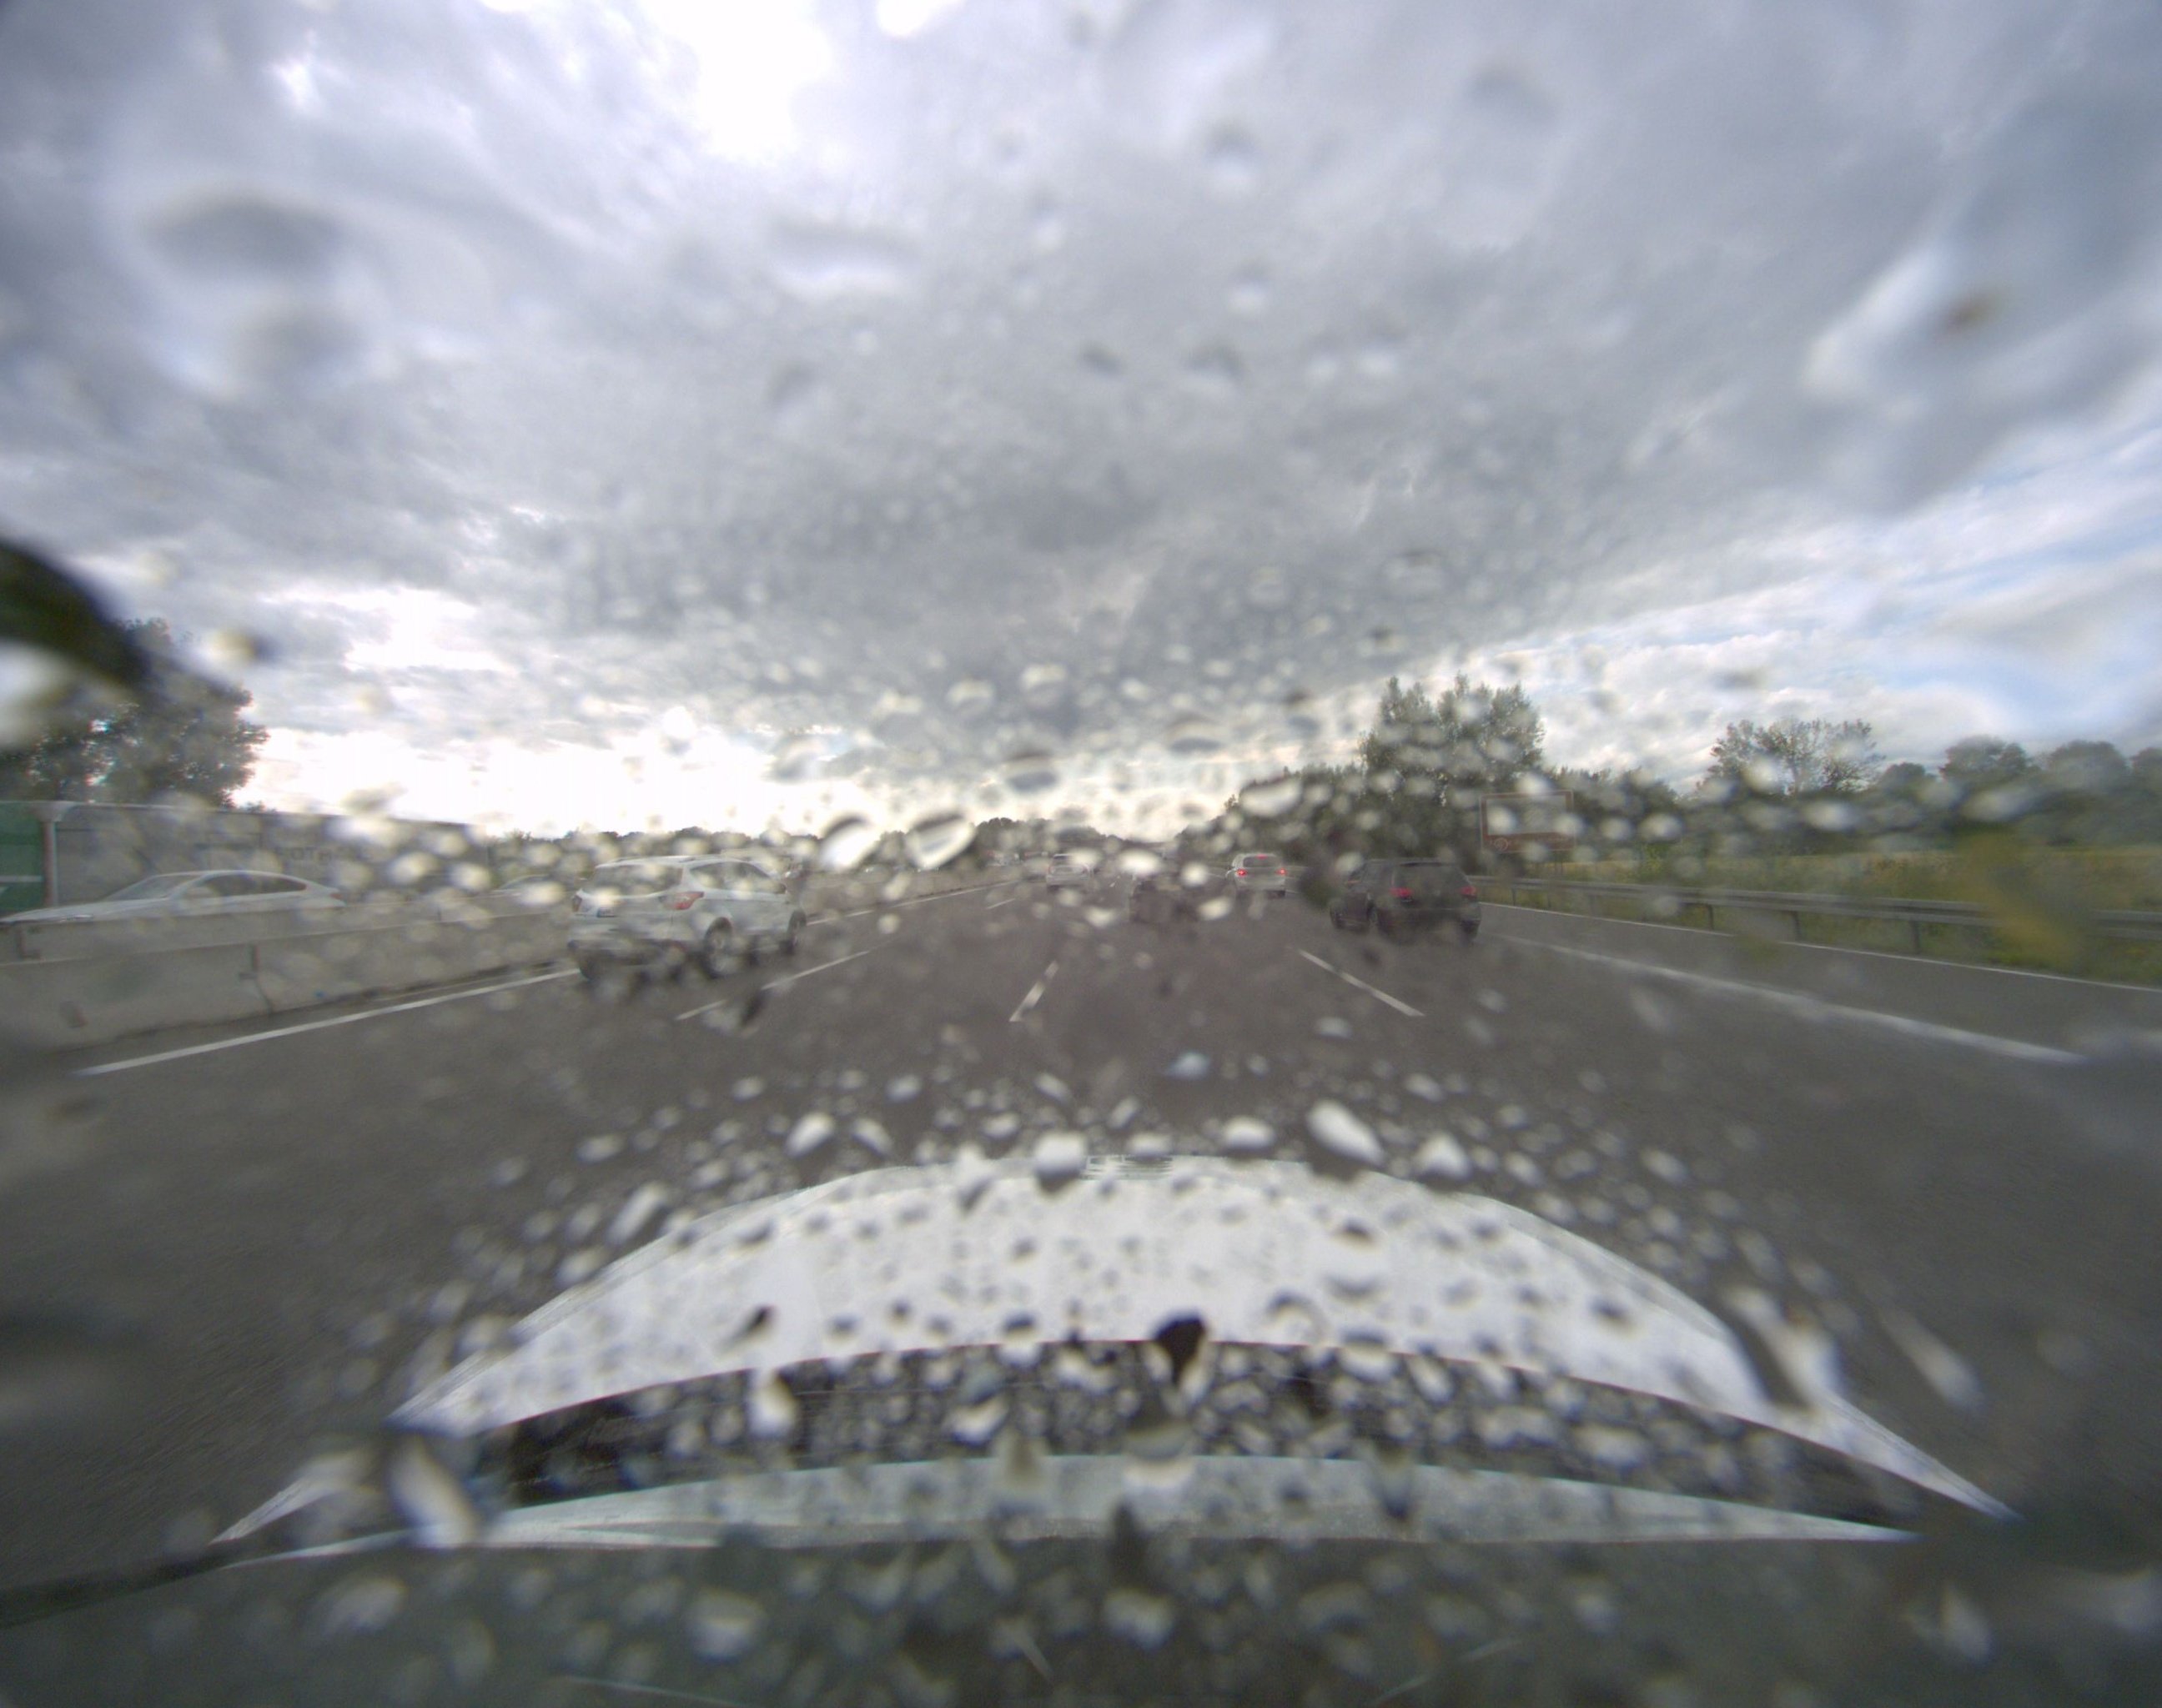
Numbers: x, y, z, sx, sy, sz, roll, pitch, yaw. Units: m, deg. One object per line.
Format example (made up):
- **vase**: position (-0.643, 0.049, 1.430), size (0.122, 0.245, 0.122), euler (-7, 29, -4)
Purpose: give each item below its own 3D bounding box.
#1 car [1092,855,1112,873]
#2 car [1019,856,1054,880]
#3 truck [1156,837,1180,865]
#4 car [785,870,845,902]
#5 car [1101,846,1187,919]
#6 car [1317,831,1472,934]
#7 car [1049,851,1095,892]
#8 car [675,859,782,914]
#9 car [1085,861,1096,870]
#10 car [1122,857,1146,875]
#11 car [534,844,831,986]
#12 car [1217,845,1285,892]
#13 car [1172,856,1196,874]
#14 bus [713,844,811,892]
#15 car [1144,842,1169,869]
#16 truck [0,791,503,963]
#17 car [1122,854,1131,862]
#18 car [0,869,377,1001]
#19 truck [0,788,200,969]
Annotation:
- **car**: position (2.099, 1.002, 79.879), size (1.873, 1.686, 4.002), euler (-1, 0, 2)
- **car**: position (-2.998, 0.925, 55.665), size (1.772, 1.481, 4.359), euler (-1, 0, 5)
- **truck**: position (12.326, -0.348, 116.145), size (3.119, 3.709, 9.858), euler (-1, 0, 4)
- **car**: position (-16.730, 1.970, 51.446), size (1.985, 1.828, 4.642), euler (-1, 0, 3)
- **car**: position (1.475, 0.657, 20.669), size (1.775, 1.613, 4.597), euler (-1, 0, 0)
- **car**: position (5.693, 0.469, 15.357), size (1.697, 1.631, 4.466), euler (-1, 0, 8)
- **car**: position (-0.361, 0.765, 37.036), size (1.774, 1.716, 4.355), euler (-1, 0, 3)
- **car**: position (-14.209, 1.245, 33.145), size (1.985, 2.014, 4.768), euler (-1, 0, 4)
- **car**: position (1.542, 1.825, 130.266), size (1.557, 1.477, 3.922), euler (-1, 0, 3)
- **car**: position (4.368, 0.960, 66.824), size (1.876, 1.407, 4.287), euler (-1, 0, 4)
- **car**: position (-5.660, 0.752, 12.444), size (1.807, 1.689, 4.858), euler (-2, 0, 4)
- **car**: position (6.245, 0.519, 30.445), size (1.803, 1.599, 4.700), euler (-1, 0, 3)
- **car**: position (8.653, 0.904, 68.357), size (1.787, 1.477, 4.043), euler (-1, 0, 5)
- **bus**: position (-24.229, 0.988, 62.558), size (2.818, 3.332, 9.975), euler (-1, 0, 4)
- **car**: position (8.582, 0.190, 93.217), size (2.556, 2.895, 7.539), euler (-1, 0, 3)
- **truck**: position (-26.537, 0.637, 27.641), size (3.134, 4.313, 13.964), euler (-1, 0, 3)
- **car**: position (10.002, 0.887, 179.742), size (1.873, 1.686, 4.002), euler (-1, 0, 2)
- **car**: position (-16.151, 1.287, 14.831), size (1.985, 1.853, 5.082), euler (-2, 0, 3)
- **truck**: position (-27.029, 0.626, 20.448), size (3.105, 4.282, 5.916), euler (-2, 0, 4)
